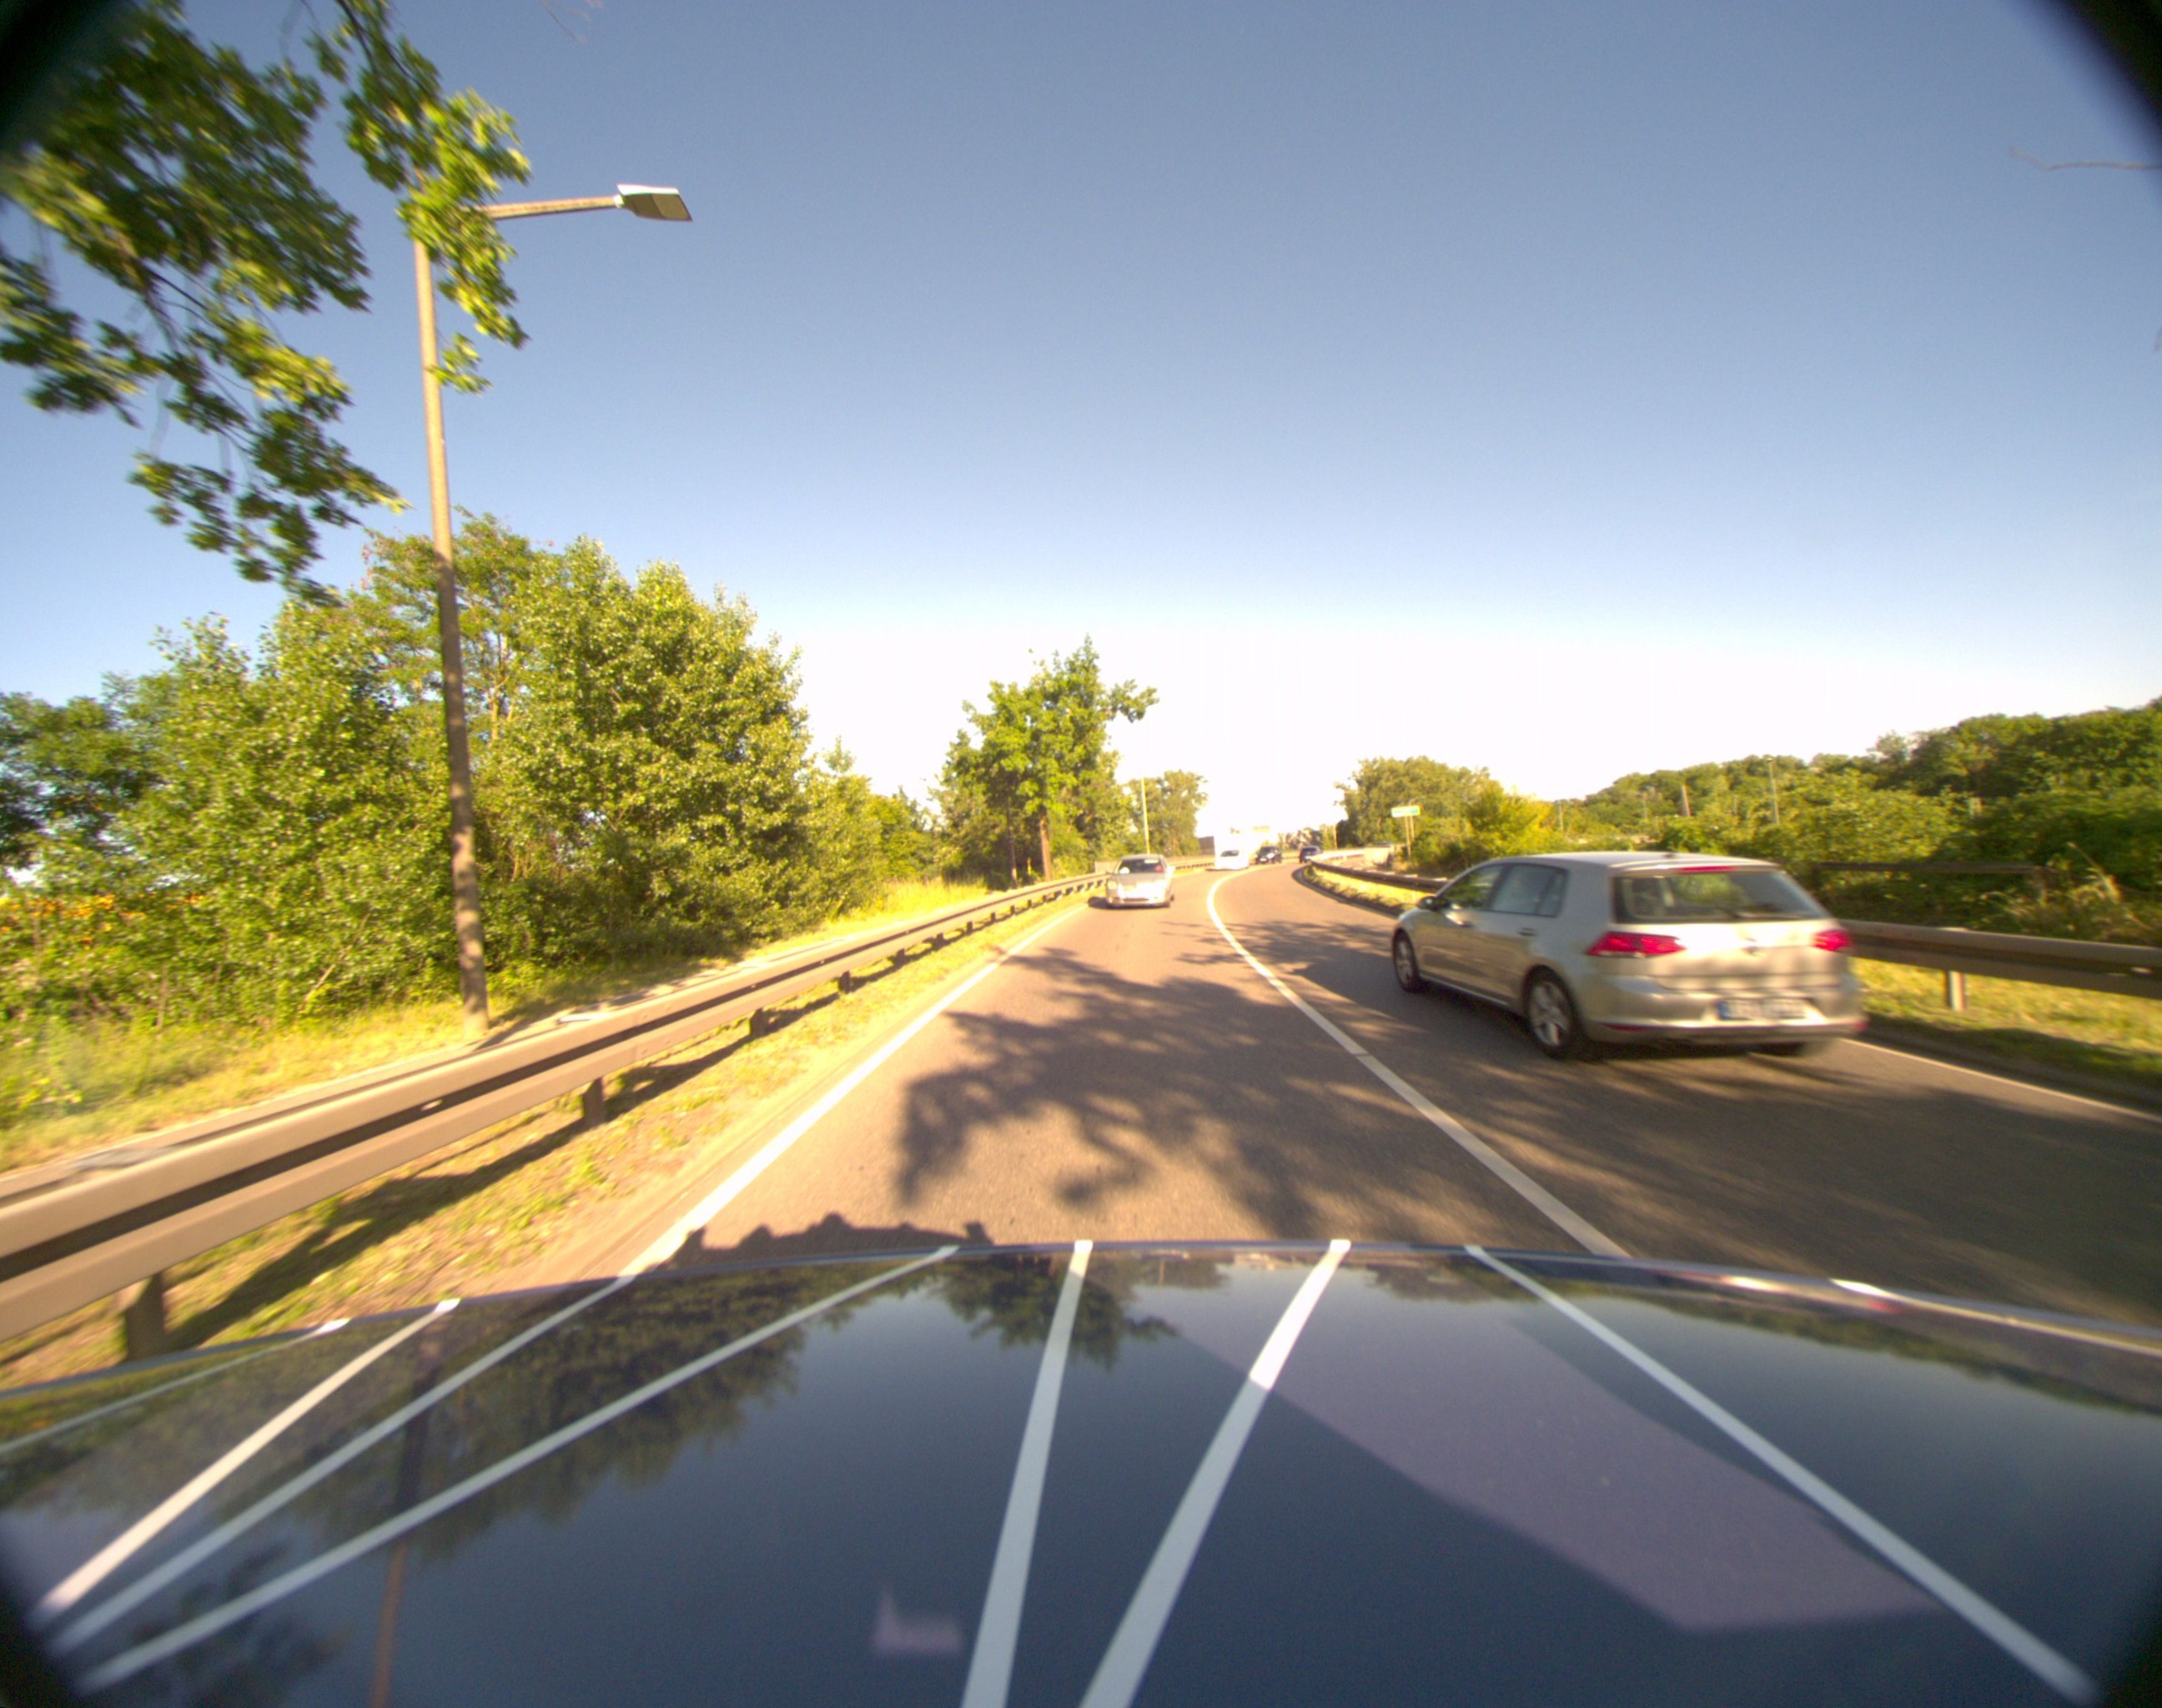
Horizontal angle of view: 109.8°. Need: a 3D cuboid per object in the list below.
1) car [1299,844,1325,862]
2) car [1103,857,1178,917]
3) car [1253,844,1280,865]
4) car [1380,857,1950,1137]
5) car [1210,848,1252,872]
[{"bbox_3d":[19.971,-0.108,65.488,1.680,1.442,4.006,-2,1,23],"label":"car"},{"bbox_3d":[1.782,0.865,21.724,1.681,1.433,3.861,-3,0,10],"label":"car"},{"bbox_3d":[16.393,-0.003,66.882,1.680,1.694,3.610,-2,1,23],"label":"car"},{"bbox_3d":[4.075,0.818,6.271,1.699,1.509,3.981,-1,0,1],"label":"car"},{"bbox_3d":[10.620,0.392,53.679,2.146,1.558,4.204,-1,0,22],"label":"car"}]
